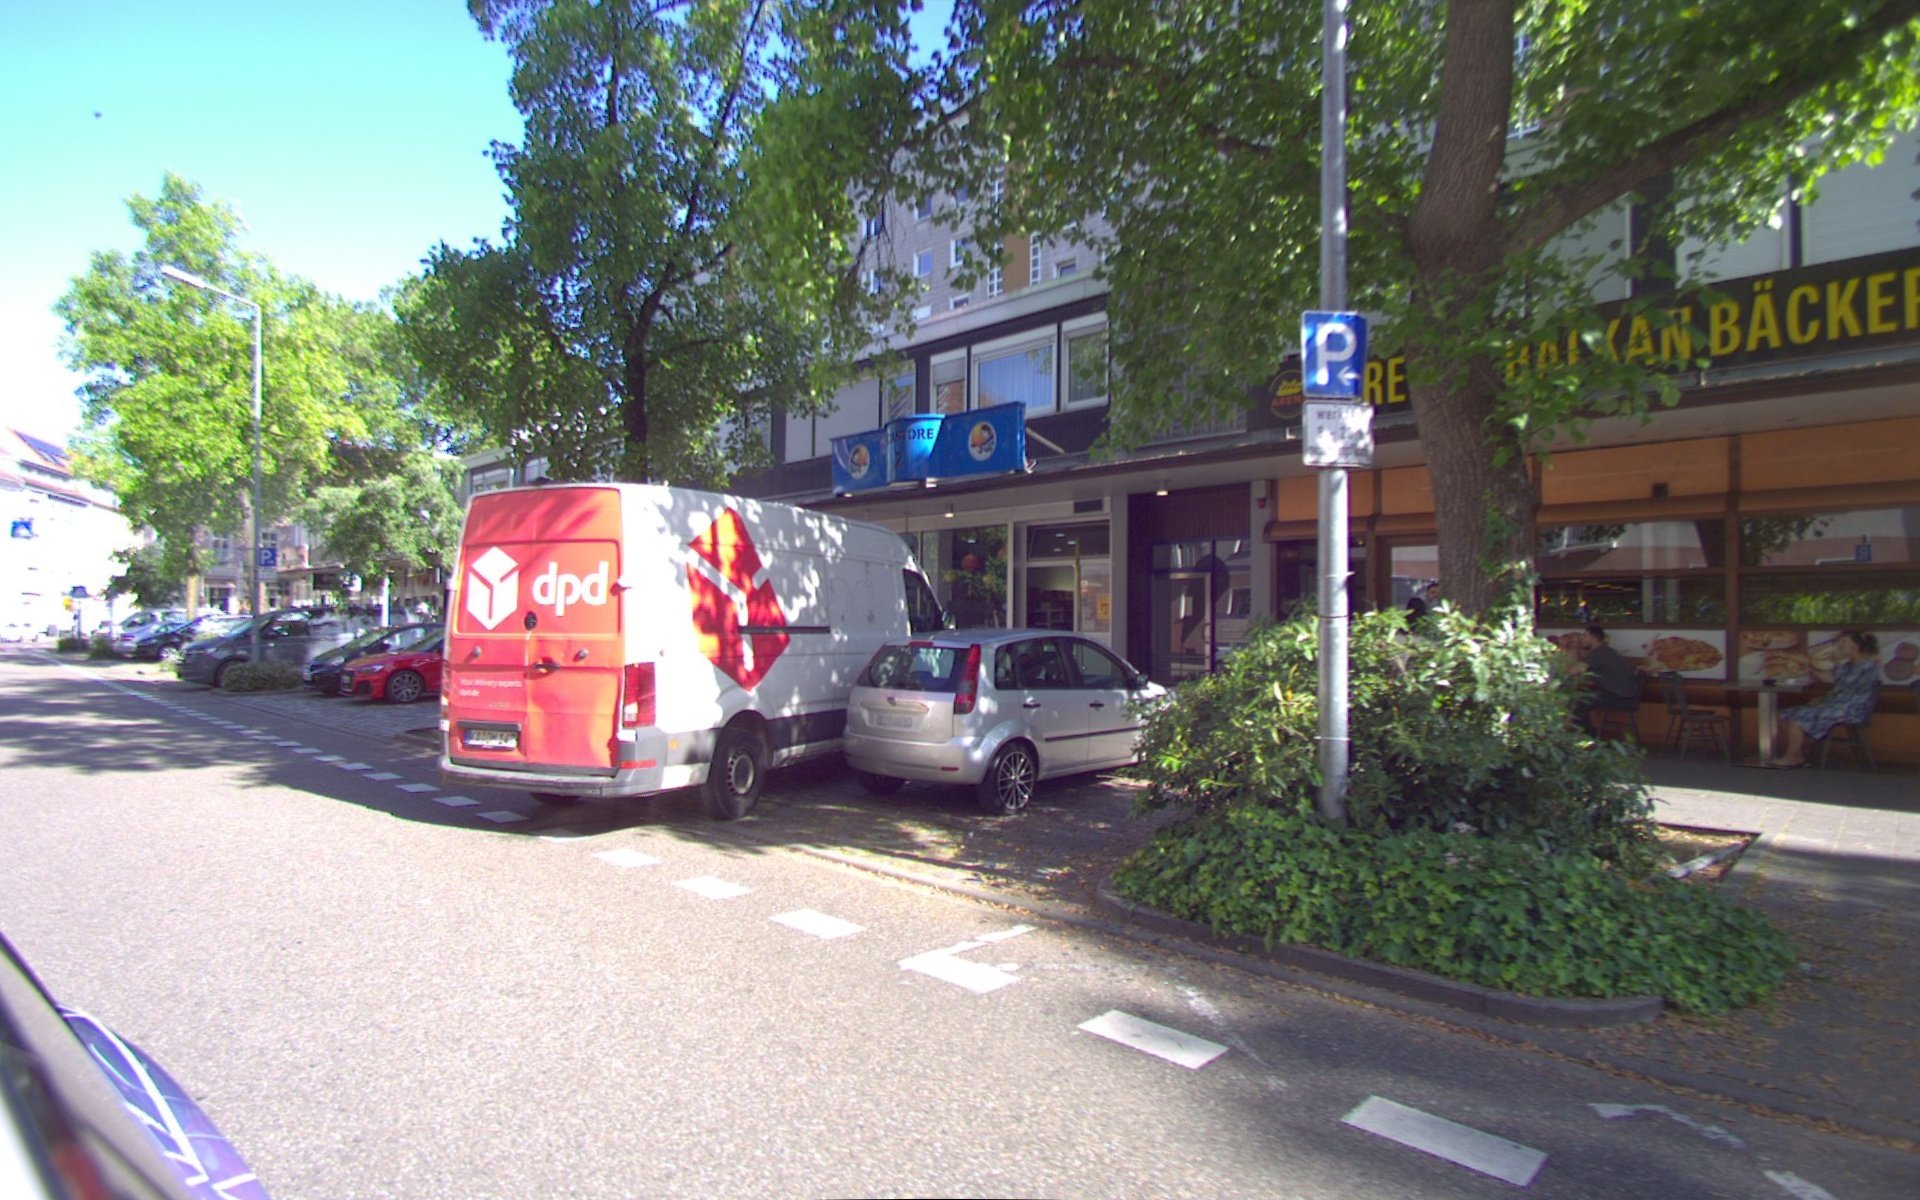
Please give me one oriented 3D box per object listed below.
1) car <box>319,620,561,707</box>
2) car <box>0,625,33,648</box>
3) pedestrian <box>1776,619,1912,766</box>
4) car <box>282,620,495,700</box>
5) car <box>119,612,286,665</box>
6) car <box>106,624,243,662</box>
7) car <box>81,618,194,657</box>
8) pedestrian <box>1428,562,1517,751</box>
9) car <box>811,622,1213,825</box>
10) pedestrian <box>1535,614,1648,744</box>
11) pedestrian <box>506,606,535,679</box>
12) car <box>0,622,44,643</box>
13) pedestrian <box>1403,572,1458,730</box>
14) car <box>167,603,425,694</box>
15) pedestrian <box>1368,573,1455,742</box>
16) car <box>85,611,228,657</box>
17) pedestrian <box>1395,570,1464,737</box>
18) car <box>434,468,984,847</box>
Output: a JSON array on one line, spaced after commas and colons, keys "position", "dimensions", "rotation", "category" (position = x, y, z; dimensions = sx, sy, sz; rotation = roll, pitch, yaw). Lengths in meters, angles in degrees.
[{"position": [-10.093, 1.164, 19.828], "dimensions": [1.710, 1.461, 3.874], "rotation": [-1, -1, 43], "category": "car"}, {"position": [-60.915, 2.326, 64.551], "dimensions": [1.608, 1.432, 3.305], "rotation": [1, -2, -23], "category": "car"}, {"position": [8.128, 0.816, 9.336], "dimensions": [0.898, 1.273, 0.601], "rotation": [-1, -2, 41], "category": "pedestrian"}, {"position": [-12.078, 1.207, 21.551], "dimensions": [1.612, 1.461, 3.628], "rotation": [-1, -1, 41], "category": "car"}, {"position": [-28.079, 1.372, 37.651], "dimensions": [1.874, 1.790, 4.717], "rotation": [-1, -1, 42], "category": "car"}, {"position": [-30.248, 1.622, 39.046], "dimensions": [1.759, 1.409, 3.944], "rotation": [-1, -2, 42], "category": "car"}, {"position": [-38.915, 1.754, 47.948], "dimensions": [1.757, 1.805, 3.943], "rotation": [-2, -2, 43], "category": "car"}, {"position": [5.467, 0.589, 10.811], "dimensions": [0.589, 1.950, 0.589], "rotation": [1, -2, -25], "category": "pedestrian"}, {"position": [0.607, 0.938, 9.273], "dimensions": [1.832, 1.431, 3.554], "rotation": [-1, -1, 43], "category": "car"}, {"position": [6.911, 0.833, 11.086], "dimensions": [0.954, 1.351, 0.557], "rotation": [-1, -1, 42], "category": "pedestrian"}, {"position": [-10.519, 1.015, 24.225], "dimensions": [0.571, 1.725, 0.636], "rotation": [0, -1, -18], "category": "pedestrian"}, {"position": [-67.206, 2.301, 72.295], "dimensions": [1.608, 1.431, 3.305], "rotation": [0, -1, -23], "category": "car"}, {"position": [5.893, 0.629, 12.668], "dimensions": [0.493, 1.918, 0.448], "rotation": [-1, -2, 42], "category": "pedestrian"}, {"position": [-16.072, 1.084, 24.704], "dimensions": [1.873, 1.953, 4.975], "rotation": [-2, -1, 43], "category": "car"}, {"position": [4.797, 0.596, 10.765], "dimensions": [0.589, 1.724, 0.589], "rotation": [1, -2, -25], "category": "pedestrian"}, {"position": [-36.797, 1.507, 46.444], "dimensions": [1.909, 1.984, 4.929], "rotation": [-1, -1, 42], "category": "car"}, {"position": [5.583, 0.617, 12.027], "dimensions": [0.579, 1.918, 0.588], "rotation": [-1, -2, 42], "category": "pedestrian"}, {"position": [-1.762, 0.463, 10.106], "dimensions": [1.985, 2.493, 6.558], "rotation": [-1, -2, 20], "category": "car"}]
